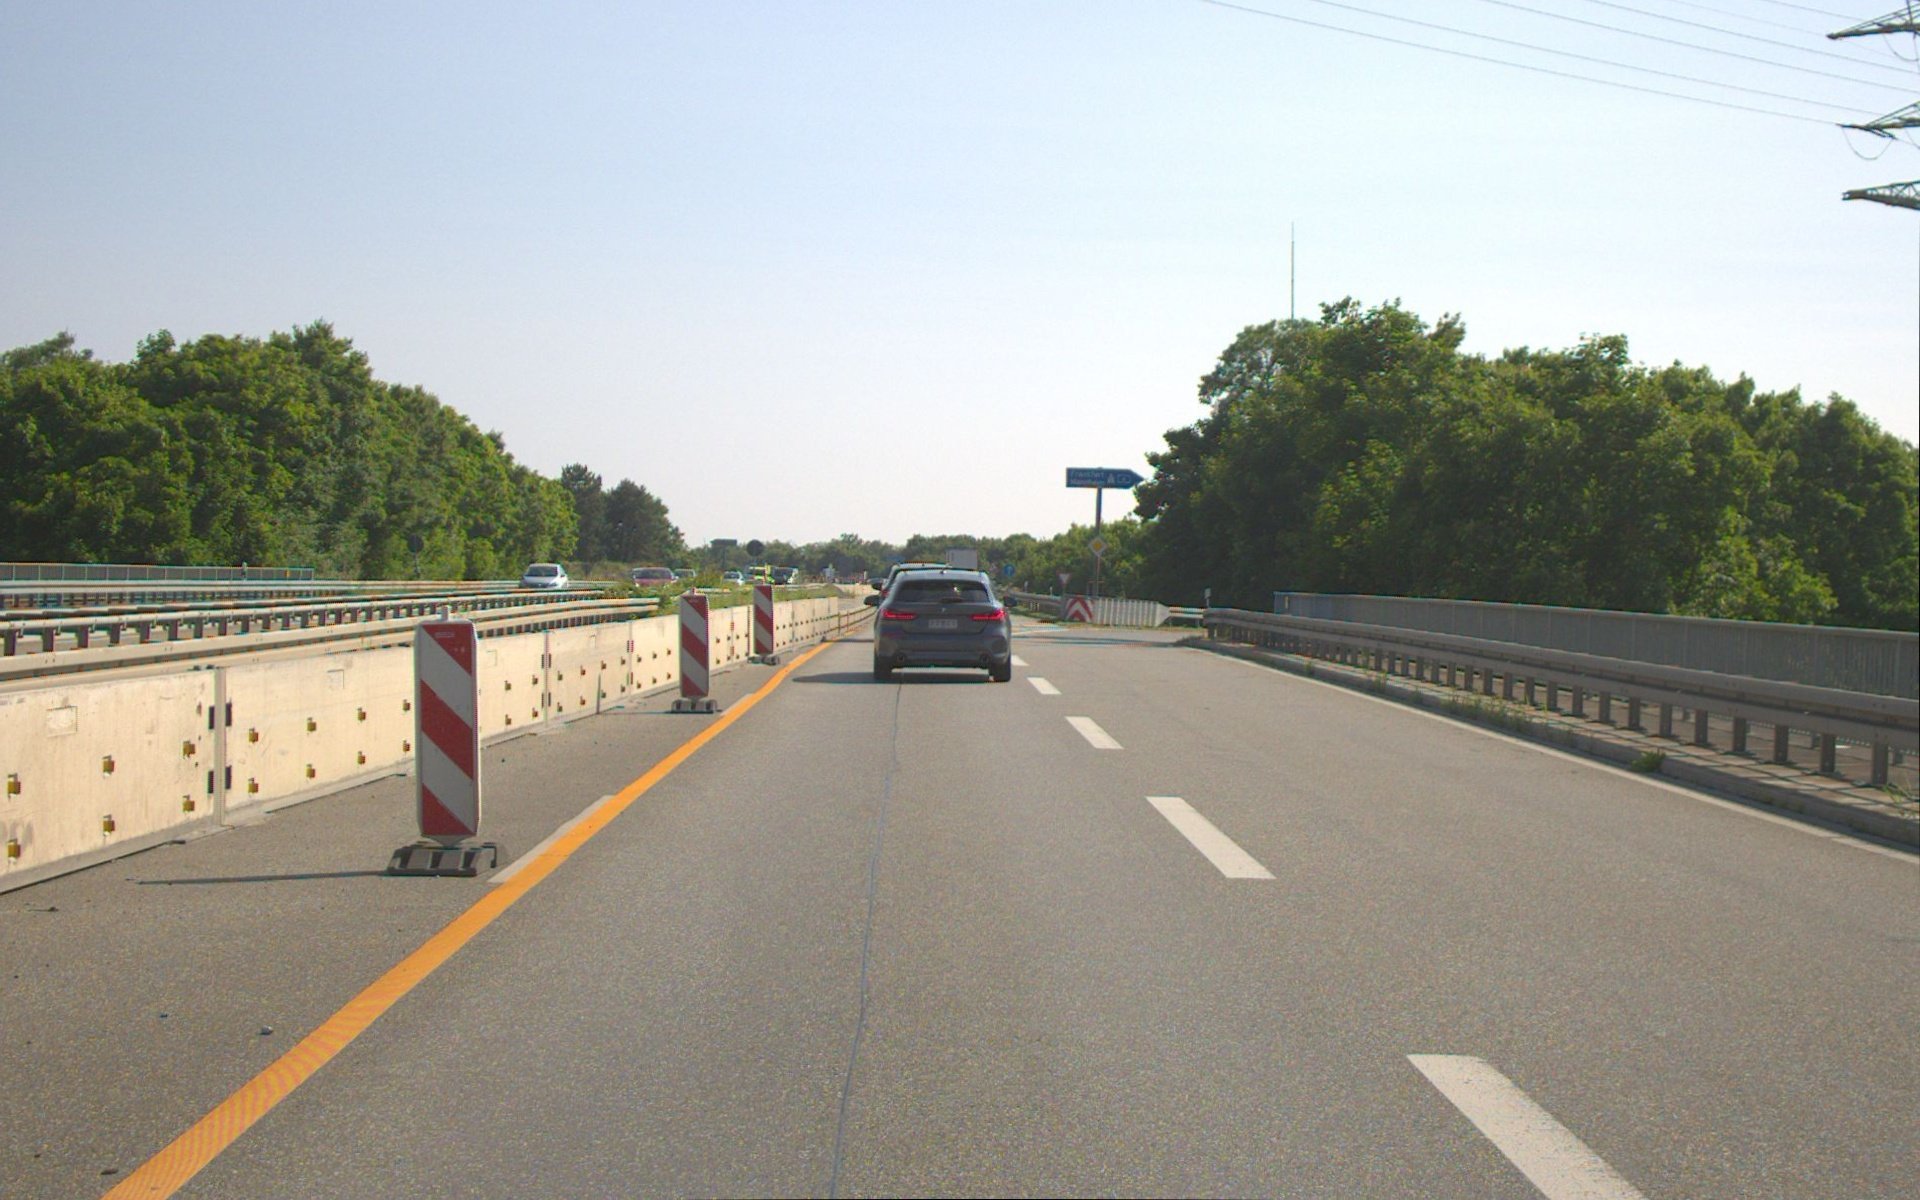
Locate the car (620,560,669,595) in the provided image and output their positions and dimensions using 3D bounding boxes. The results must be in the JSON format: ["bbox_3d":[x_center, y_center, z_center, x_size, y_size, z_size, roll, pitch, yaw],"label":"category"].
[{"bbox_3d":[-13.165,-0.935,143.669,1.714,1.392,4.221,1,0,-1],"label":"car"}]

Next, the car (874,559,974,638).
[{"bbox_3d":[-0.722,-0.048,70.605,1.993,1.561,4.000,1,1,0],"label":"car"}]

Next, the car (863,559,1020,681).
[{"bbox_3d":[-0.288,0.234,45.486,1.920,1.488,4.000,2,0,-2],"label":"car"}]

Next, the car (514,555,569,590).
[{"bbox_3d":[-17.015,-1.122,139.865,1.777,1.388,4.126,0,0,-1],"label":"car"}]
